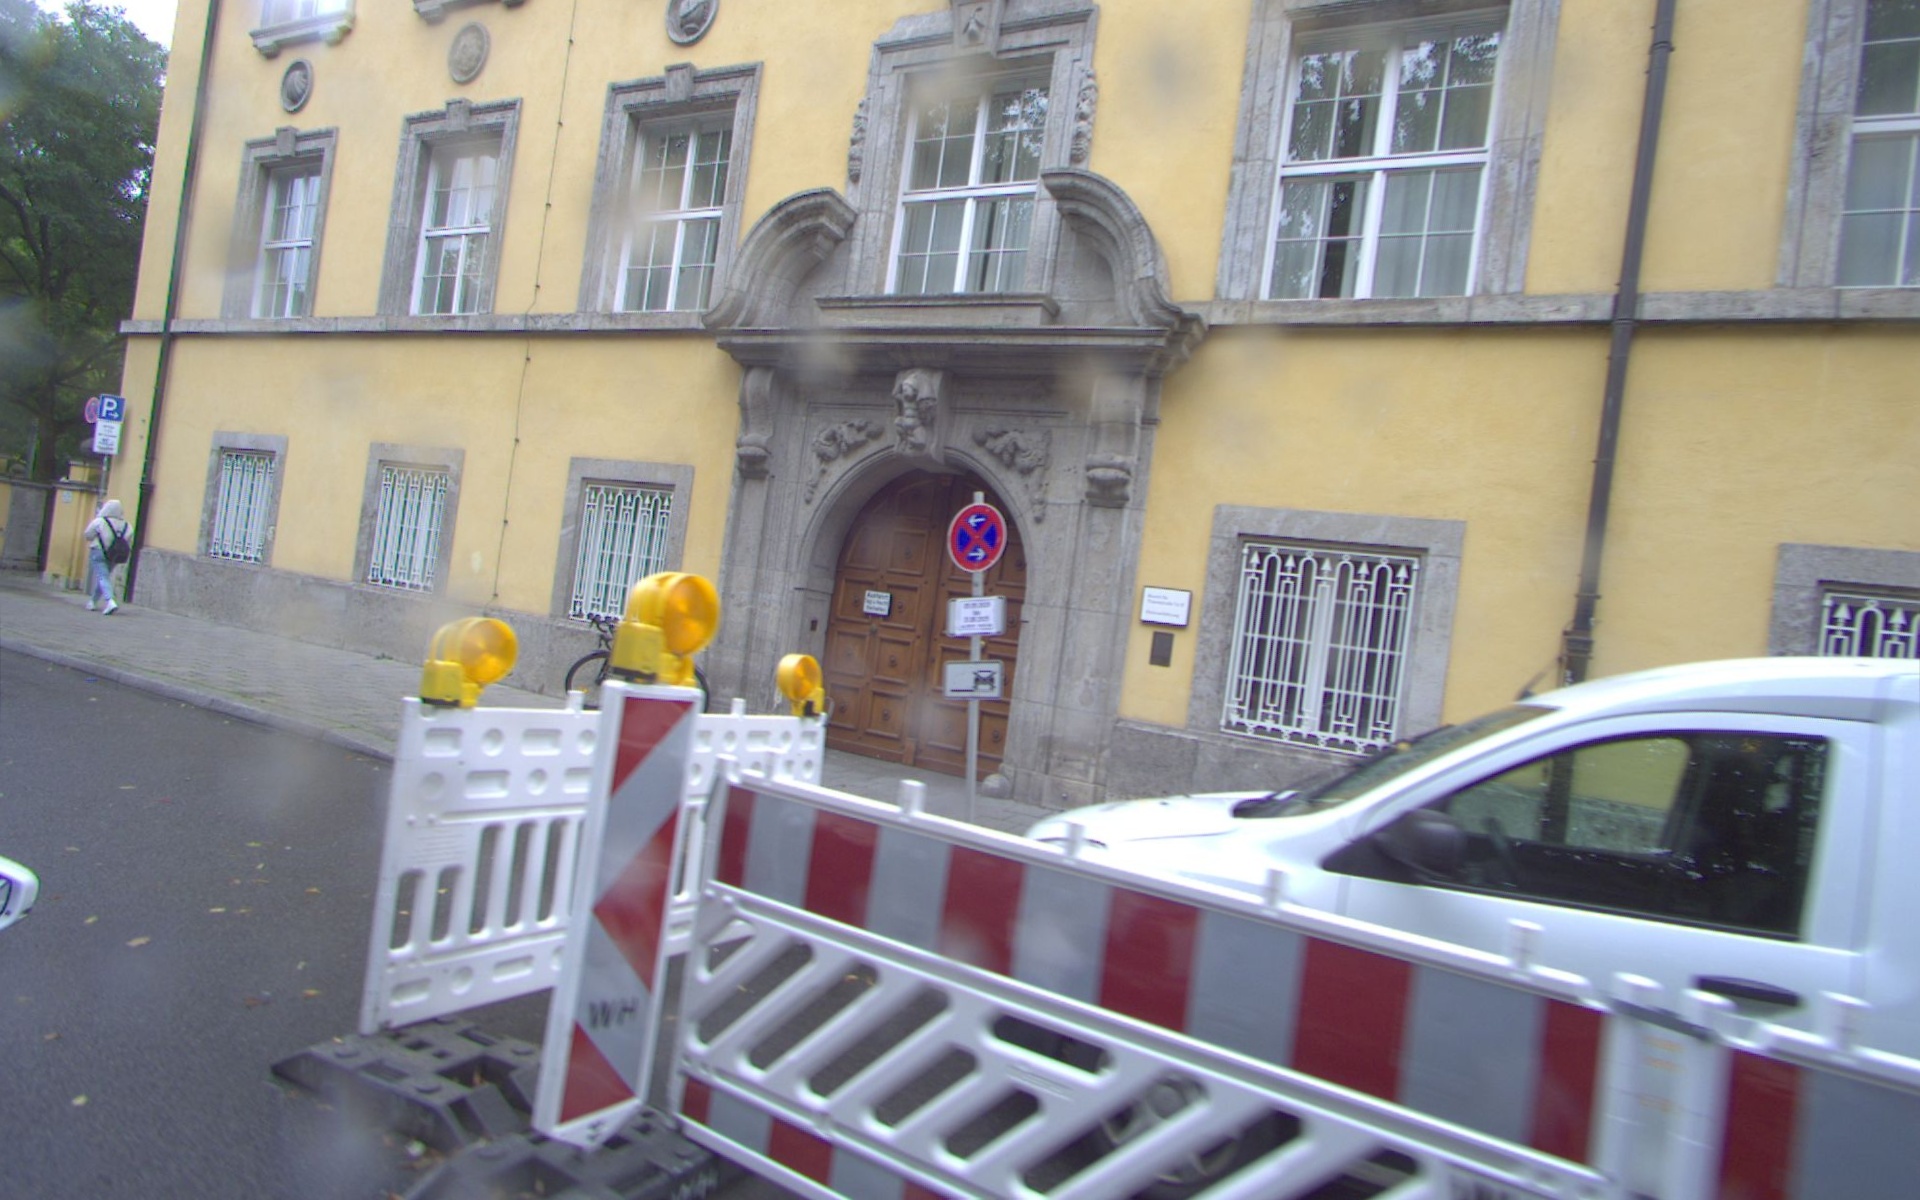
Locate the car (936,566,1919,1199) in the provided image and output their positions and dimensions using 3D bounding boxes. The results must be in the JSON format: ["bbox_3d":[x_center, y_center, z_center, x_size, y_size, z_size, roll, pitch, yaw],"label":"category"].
[{"bbox_3d":[2.309,1.049,2.904,4.278,1.770,1.745,6,-2,25],"label":"car"}]

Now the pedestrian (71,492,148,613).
[{"bbox_3d":[-12.312,-0.679,14.563,0.561,1.658,0.561,7,1,26],"label":"pedestrian"}]

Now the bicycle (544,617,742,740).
[{"bbox_3d":[-3.398,0.817,10.741,2.021,1.018,0.682,6,-1,27],"label":"bicycle"}]
